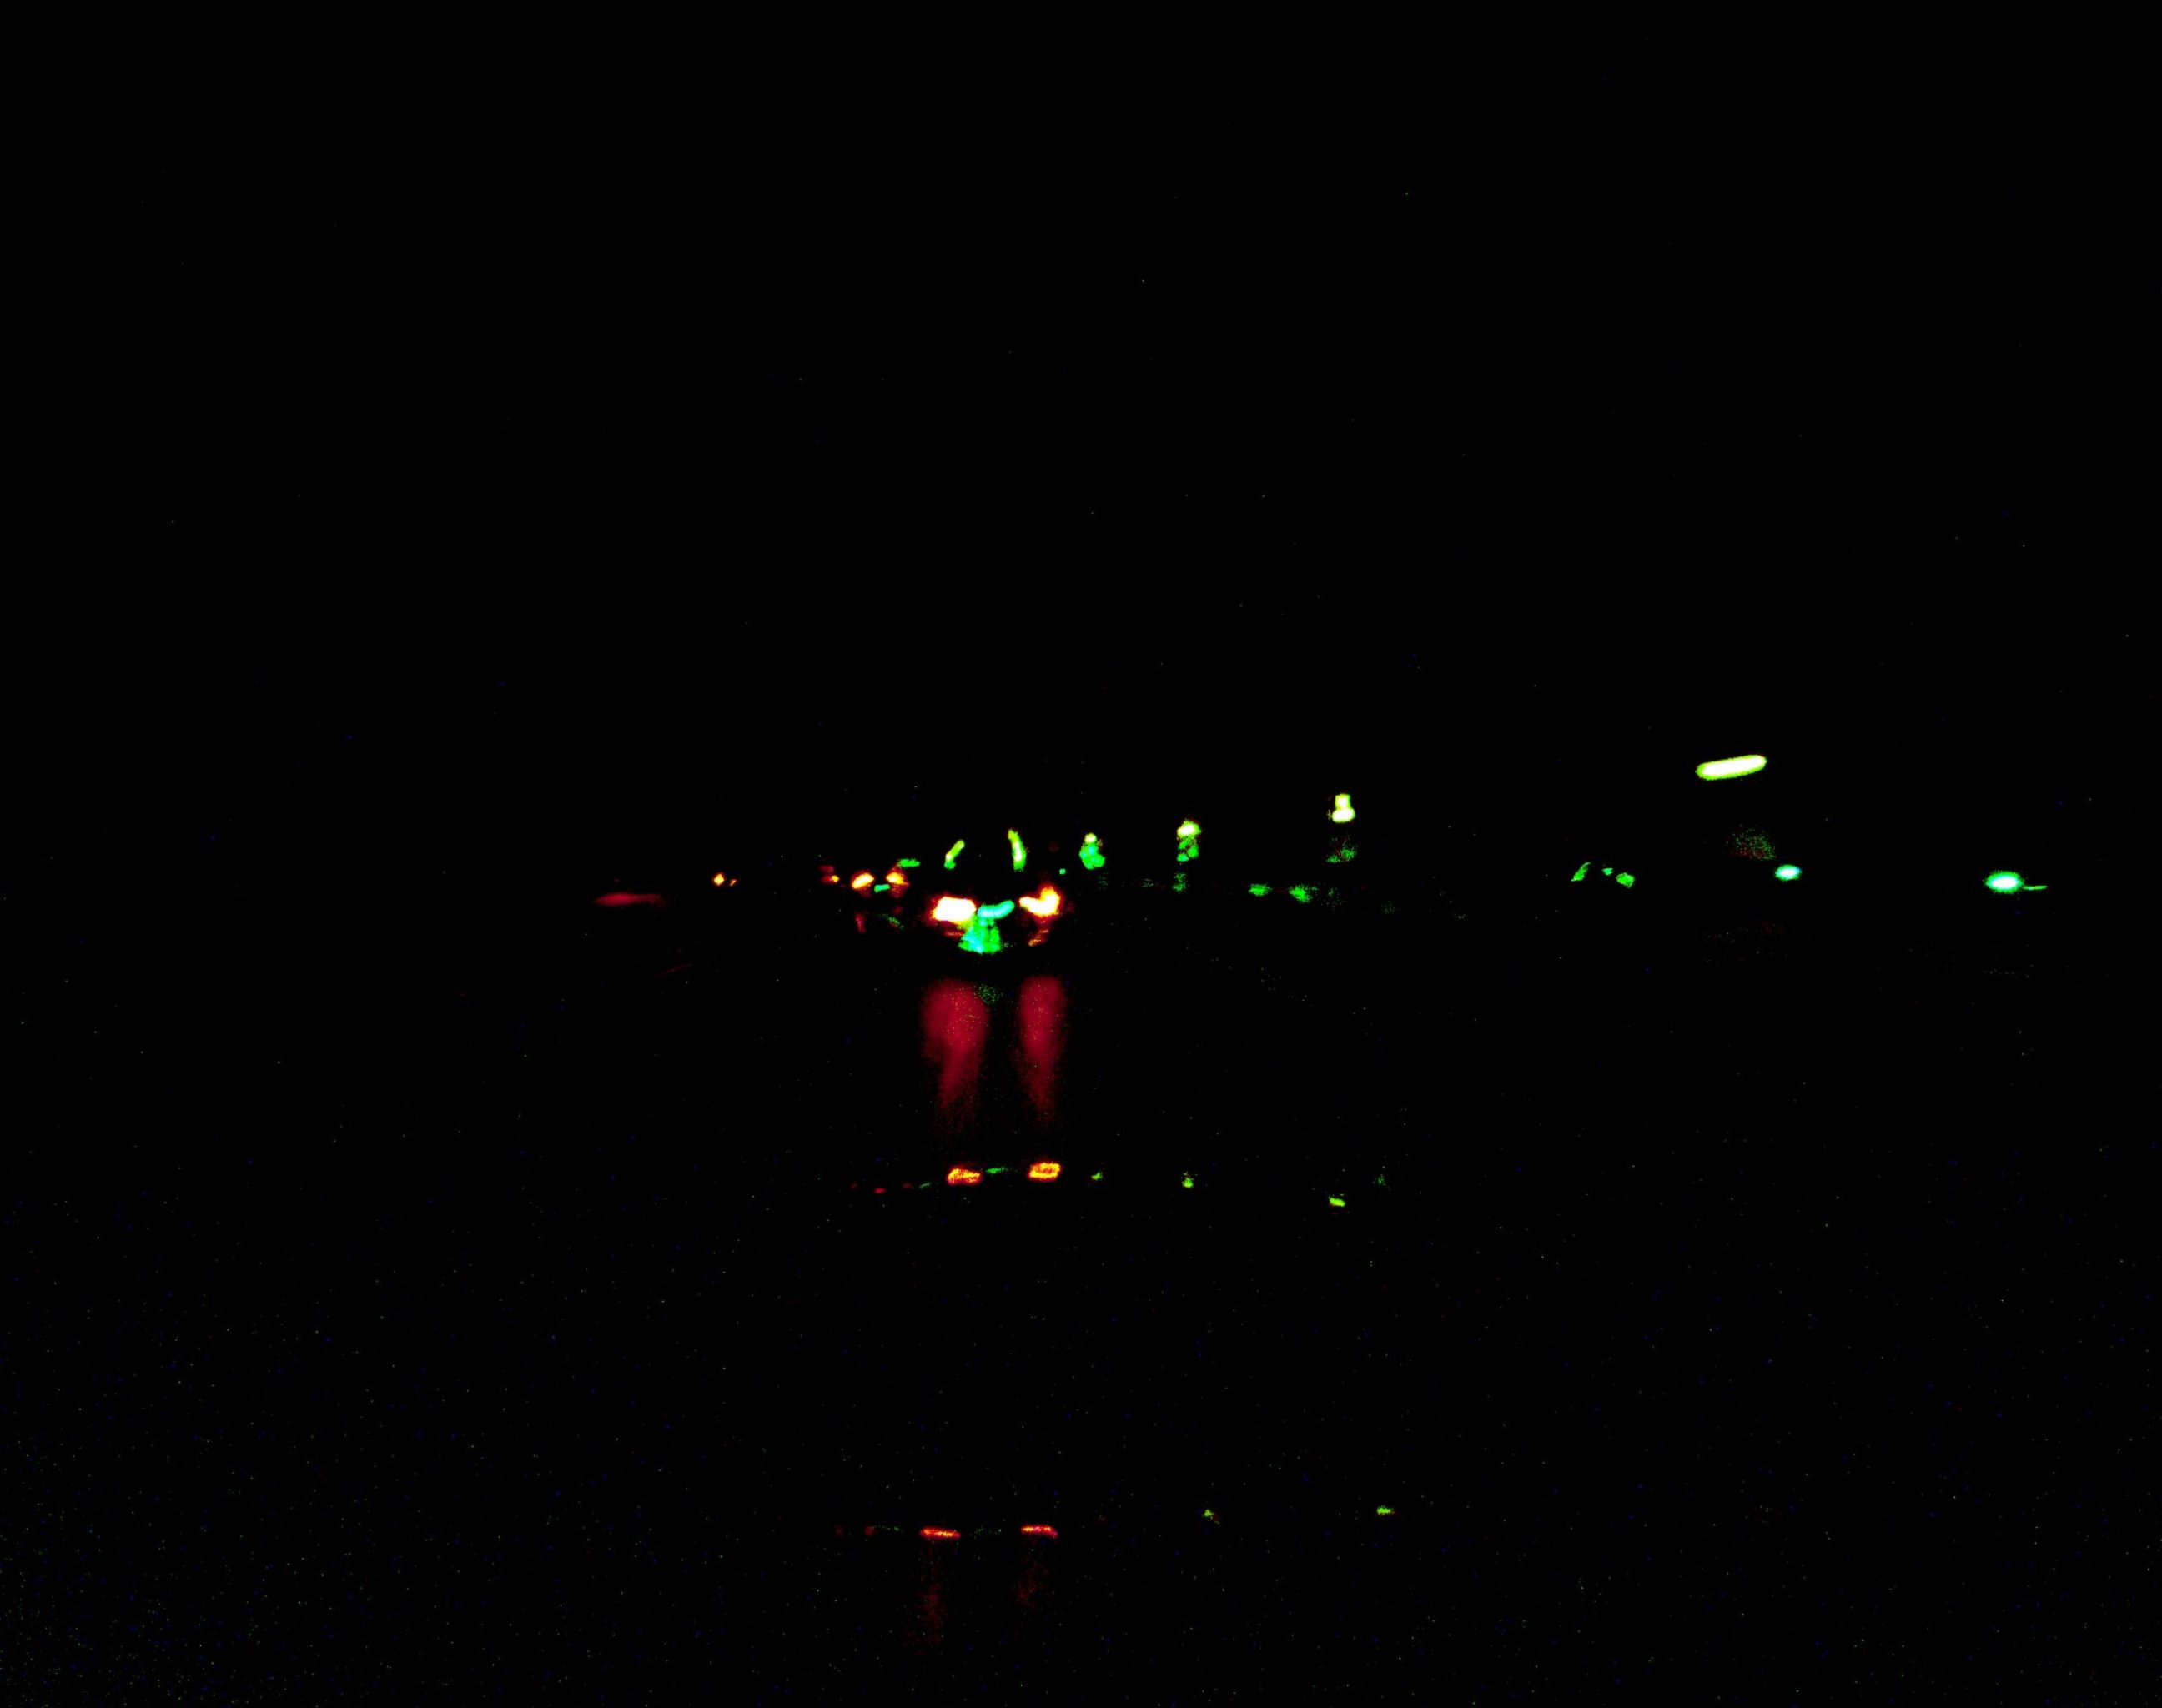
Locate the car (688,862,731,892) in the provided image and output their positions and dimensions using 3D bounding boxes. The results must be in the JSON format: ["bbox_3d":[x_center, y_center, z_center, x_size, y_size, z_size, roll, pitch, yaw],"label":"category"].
[{"bbox_3d":[-25.778,1.543,56.448,1.910,1.998,4.000,0,0,-37],"label":"car"}]

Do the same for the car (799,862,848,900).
[{"bbox_3d":[-14.521,1.487,45.861,1.907,2.040,4.008,0,-1,-29],"label":"car"}]

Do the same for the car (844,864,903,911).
[{"bbox_3d":[-8.453,1.288,33.004,1.902,1.720,4.018,0,0,-20],"label":"car"}]

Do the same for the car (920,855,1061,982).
[{"bbox_3d":[-1.528,0.887,13.085,1.860,1.647,4.056,-2,0,-9],"label":"car"}]
